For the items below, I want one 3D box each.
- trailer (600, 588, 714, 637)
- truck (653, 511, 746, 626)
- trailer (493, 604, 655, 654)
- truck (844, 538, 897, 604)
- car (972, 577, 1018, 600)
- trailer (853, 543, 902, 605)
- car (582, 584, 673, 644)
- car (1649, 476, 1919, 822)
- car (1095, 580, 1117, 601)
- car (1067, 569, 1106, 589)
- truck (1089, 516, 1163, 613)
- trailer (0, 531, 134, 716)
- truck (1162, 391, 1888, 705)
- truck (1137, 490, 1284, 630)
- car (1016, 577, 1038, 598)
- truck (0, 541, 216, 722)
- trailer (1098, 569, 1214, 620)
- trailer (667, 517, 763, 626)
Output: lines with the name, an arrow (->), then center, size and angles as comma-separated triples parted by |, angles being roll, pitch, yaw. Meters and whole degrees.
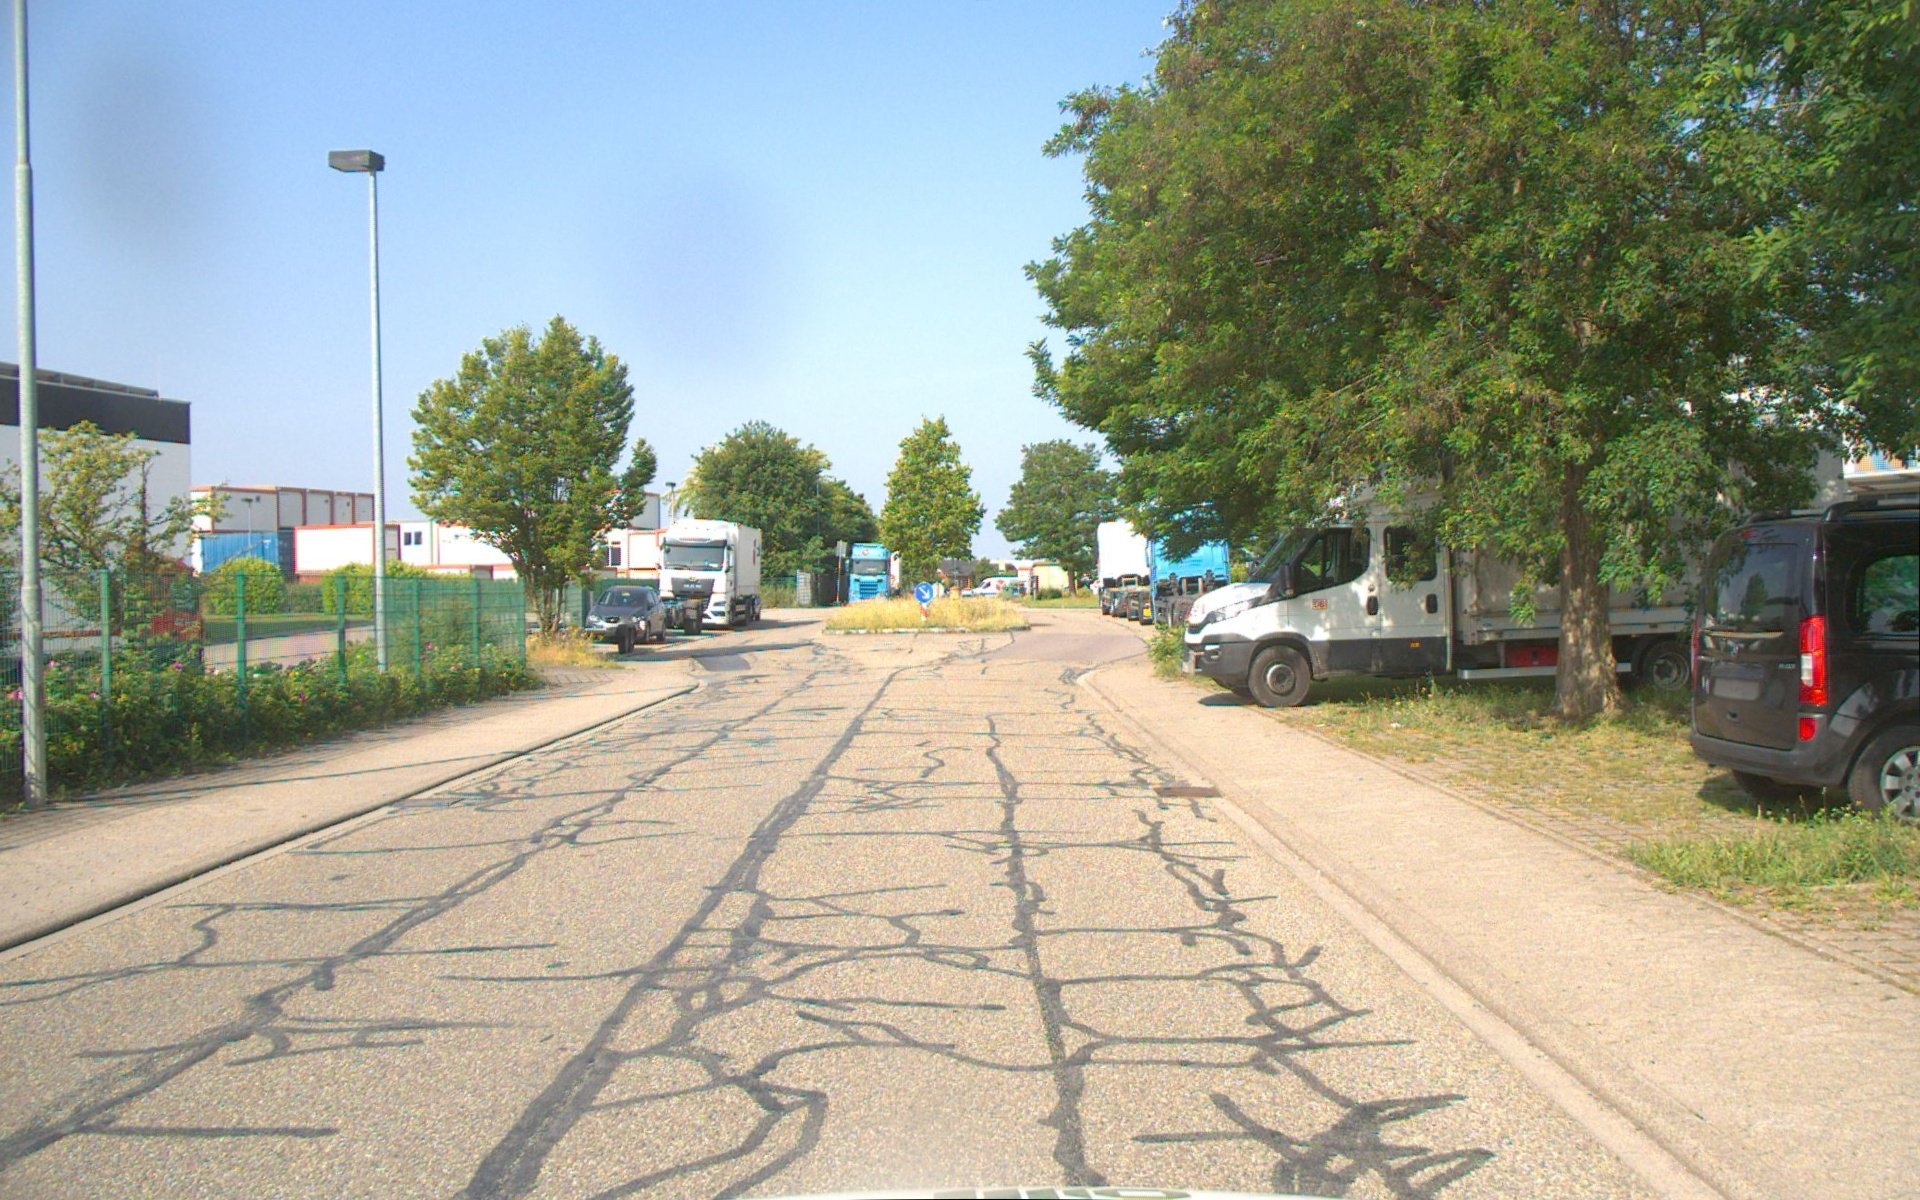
trailer -> -9.746, 0.381, 53.645 | 2.626, 1.479, 5.078 | 0, 1, 1
truck -> -9.429, -1.074, 60.269 | 2.653, 3.990, 4.296 | 1, -1, -1
trailer -> -9.341, 0.656, 40.748 | 2.495, 0.941, 6.709 | 2, 1, -1
truck -> -5.591, -1.750, 104.717 | 2.767, 3.893, 9.671 | 1, -1, 0
car -> 4.321, -1.461, 206.052 | 5.651, 2.781, 2.000 | 1, -1, 0
trailer -> -5.590, -1.661, 113.780 | 2.773, 3.910, 12.034 | 1, -1, 0
car -> -9.434, 0.364, 47.265 | 1.661, 1.588, 4.336 | 2, 1, 0
car -> 6.538, 0.222, 9.988 | 3.904, 1.870, 2.000 | -1, 0, 1
car -> 12.078, -0.753, 136.985 | 1.681, 1.646, 4.001 | 1, -1, 3
car -> 9.309, -1.536, 121.989 | 1.641, 1.353, 3.647 | 1, -1, -16
truck -> 7.369, -1.577, 73.903 | 2.690, 4.051, 4.000 | -3, 0, 0
trailer -> -23.297, 0.459, 34.123 | 2.429, 4.112, 13.897 | 1, -1, 16
truck -> 6.761, -0.605, 20.628 | 8.042, 3.429, 2.740 | -2, -1, -1
truck -> 7.350, -1.065, 49.953 | 2.829, 3.596, 9.755 | -4, 0, 1
car -> 5.881, -1.097, 145.217 | 1.755, 1.780, 3.999 | 1, -1, -1
truck -> -21.409, 0.744, 40.883 | 2.459, 4.142, 5.547 | 1, -1, 15
trailer -> 7.400, -0.253, 64.846 | 2.690, 1.601, 16.172 | -3, 0, 0
trailer -> -9.469, -1.019, 64.712 | 2.644, 3.990, 7.574 | 1, -1, 0
